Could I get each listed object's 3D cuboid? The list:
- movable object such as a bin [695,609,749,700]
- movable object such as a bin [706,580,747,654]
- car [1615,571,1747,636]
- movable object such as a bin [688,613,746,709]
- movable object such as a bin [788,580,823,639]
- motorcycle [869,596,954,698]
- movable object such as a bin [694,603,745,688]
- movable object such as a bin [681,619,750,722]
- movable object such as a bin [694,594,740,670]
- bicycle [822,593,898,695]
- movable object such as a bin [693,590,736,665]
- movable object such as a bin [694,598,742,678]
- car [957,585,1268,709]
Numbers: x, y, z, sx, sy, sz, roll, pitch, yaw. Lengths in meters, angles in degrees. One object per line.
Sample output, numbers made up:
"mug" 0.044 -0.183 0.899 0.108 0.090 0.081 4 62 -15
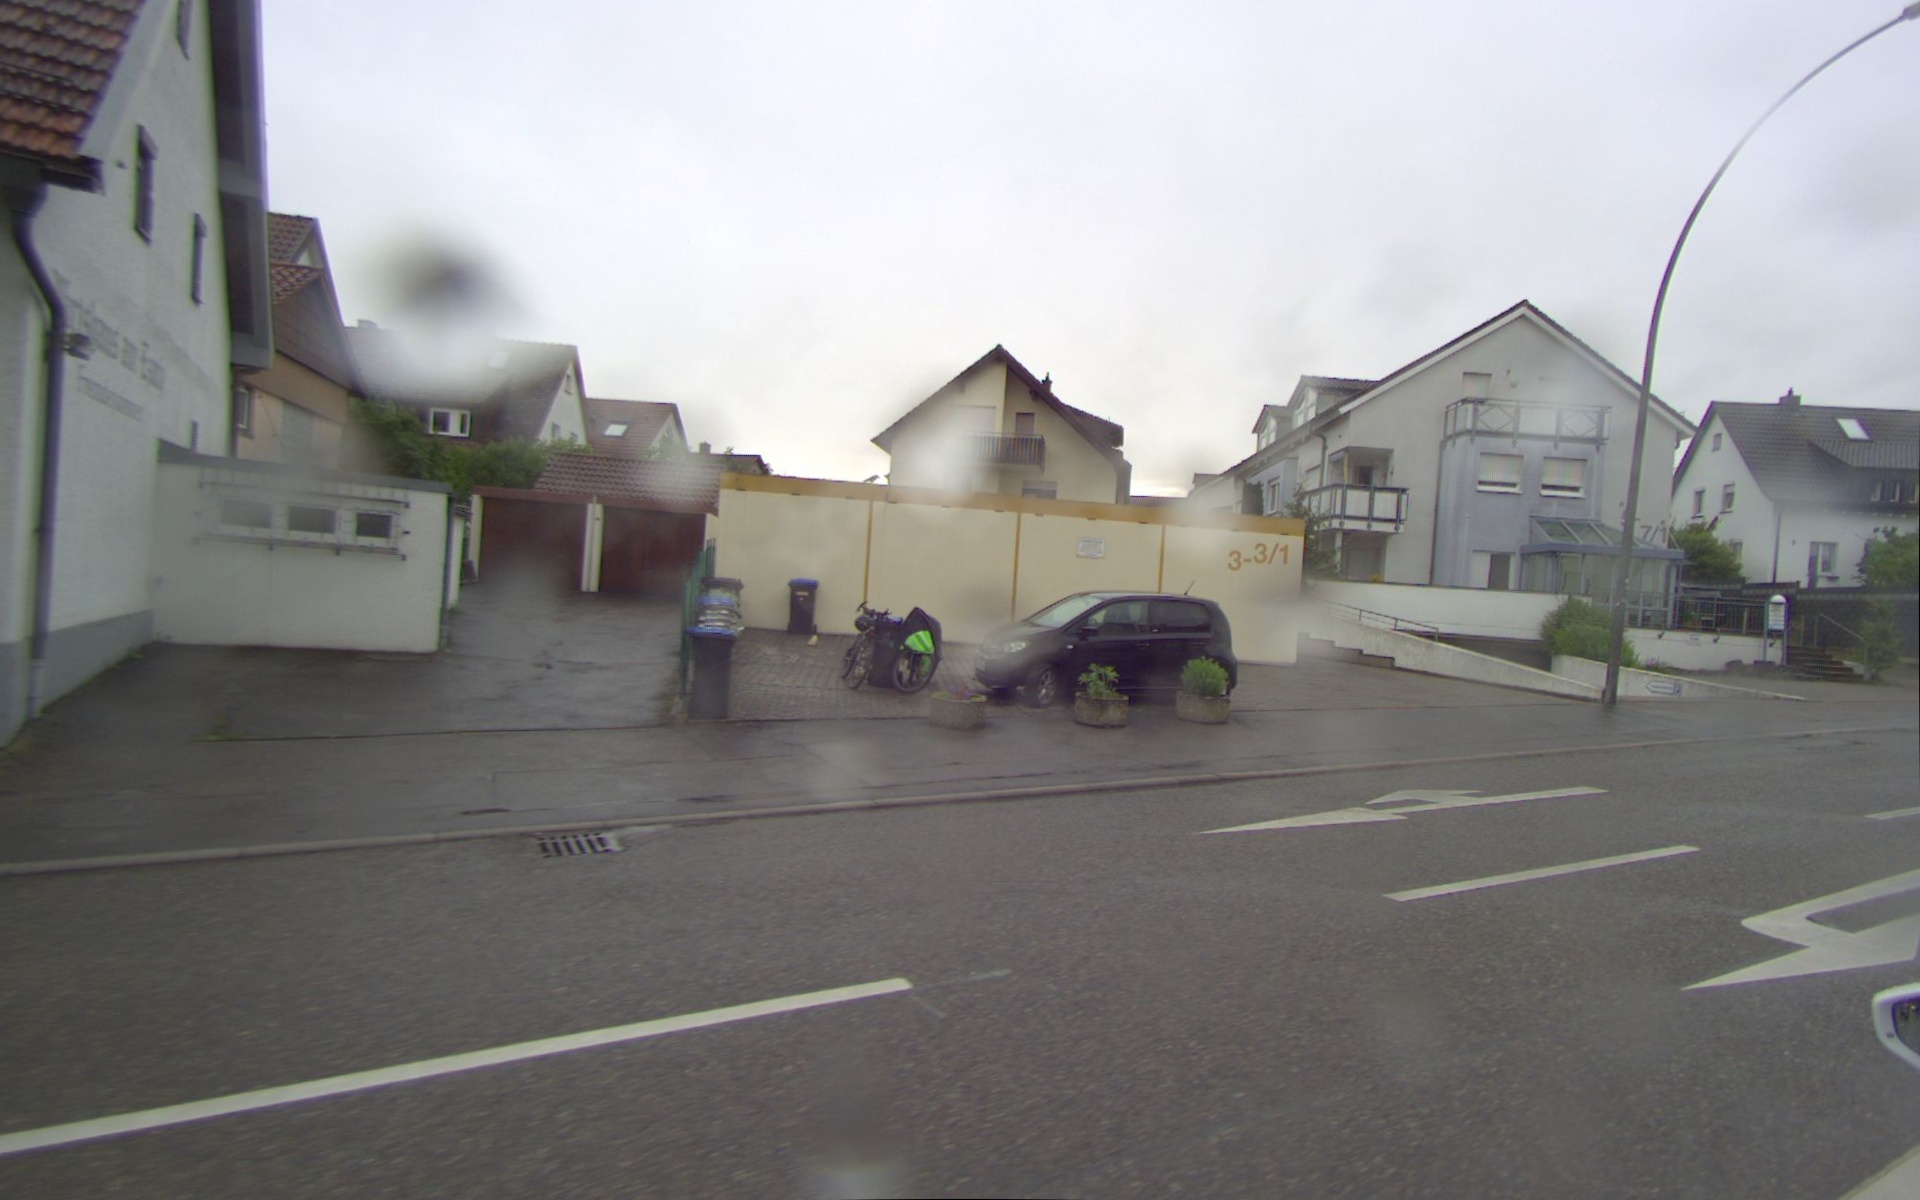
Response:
"movable object such as a bin" -2.883 0.649 12.142 0.595 1.046 0.638 1 1 -16
"movable object such as a bin" -3.811 0.271 16.357 0.595 1.146 0.638 1 3 -16
"car" 26.170 0.065 36.657 1.960 1.806 4.000 4 6 4
"movable object such as a bin" -2.750 0.675 11.331 0.595 1.046 0.638 1 -1 -16
"movable object such as a bin" -2.946 0.186 19.203 0.612 1.093 0.671 1 -1 -7
"motorcycle" -0.710 0.609 13.935 0.767 1.129 2.111 3 4 -13
"movable object such as a bin" -3.079 0.576 12.828 0.595 1.046 0.638 1 -1 -16
"movable object such as a bin" -2.586 0.729 10.591 0.662 1.046 0.638 1 -1 -16
"movable object such as a bin" -3.471 0.448 14.312 0.595 1.046 0.638 1 -1 -16
"bicycle" -1.405 0.561 13.755 0.725 1.128 2.098 4 3 -13
"movable object such as a bin" -3.762 0.410 15.345 0.595 1.046 0.638 1 7 -16
"movable object such as a bin" -3.272 0.506 13.557 0.595 1.046 0.638 1 -1 -16
"car" 1.994 0.612 13.735 3.761 1.461 1.903 2 2 -11
